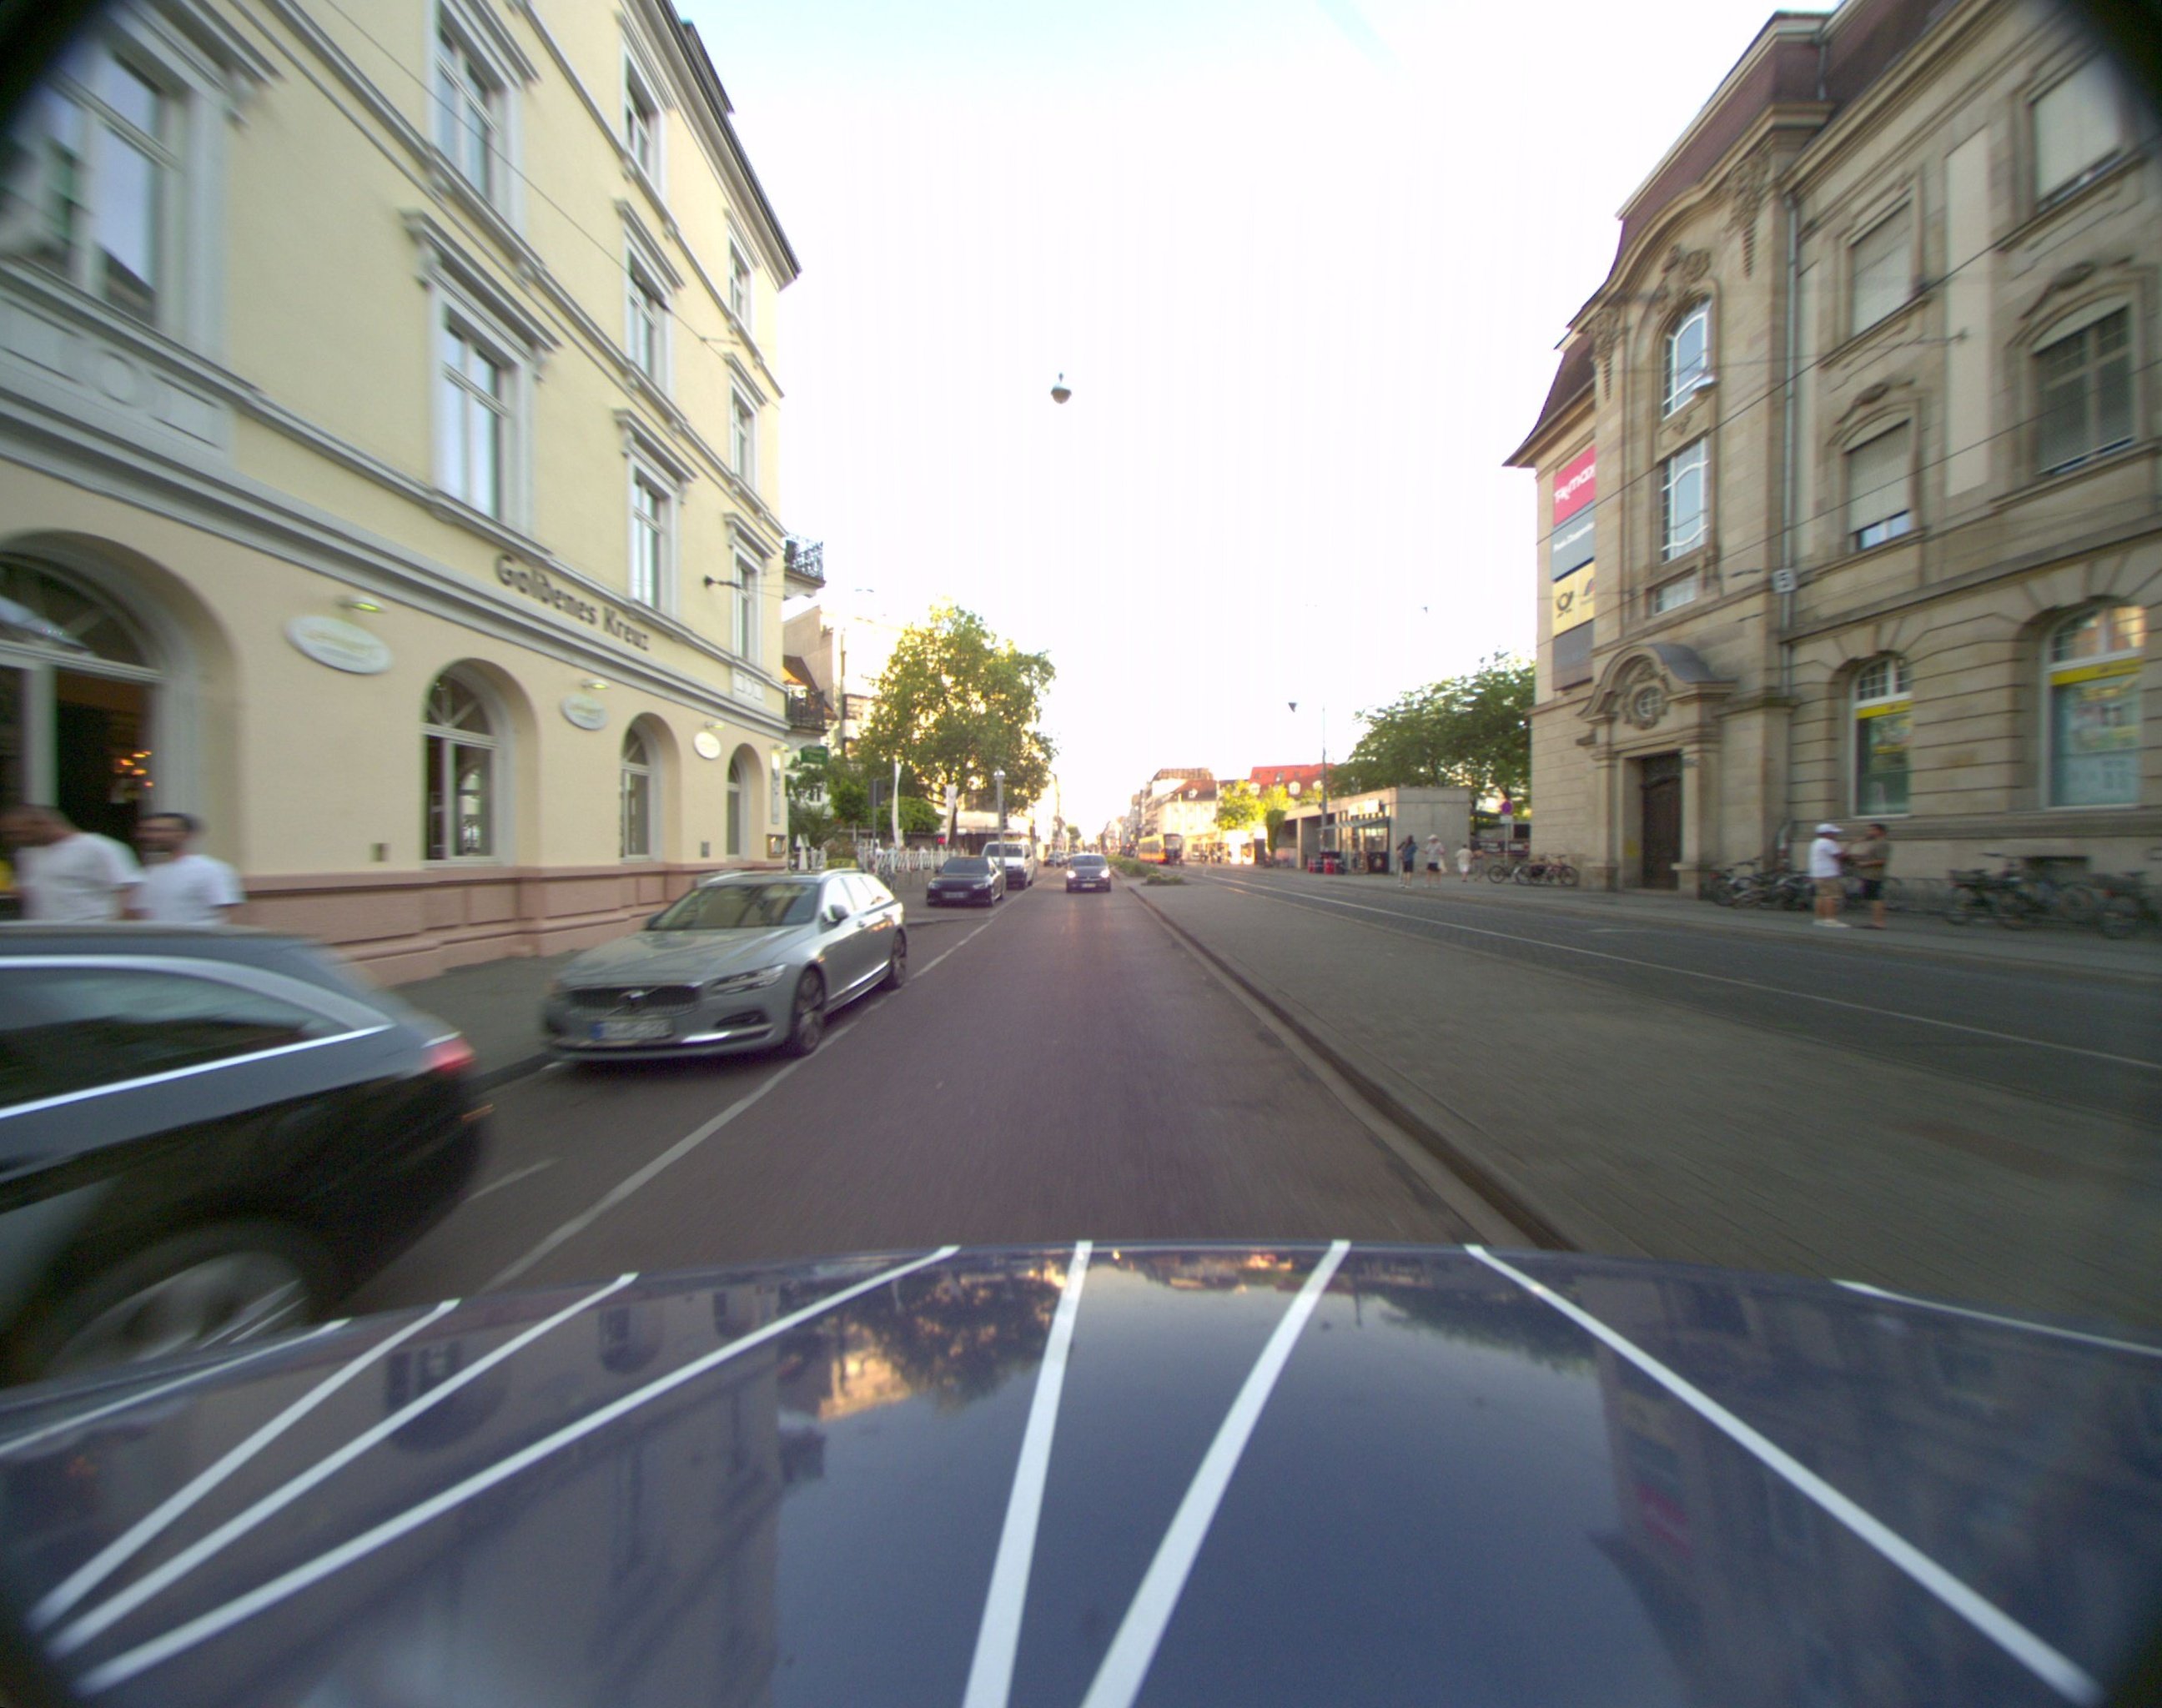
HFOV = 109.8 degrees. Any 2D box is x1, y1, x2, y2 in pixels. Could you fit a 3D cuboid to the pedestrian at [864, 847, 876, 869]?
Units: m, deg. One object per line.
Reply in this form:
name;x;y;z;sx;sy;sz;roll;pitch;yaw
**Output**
pedestrian;-12.463;0.220;44.873;0.532;1.289;0.491;-1;1;1

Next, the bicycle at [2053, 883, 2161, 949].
bicycle;14.930;0.869;10.777;1.579;0.869;0.451;-2;1;5

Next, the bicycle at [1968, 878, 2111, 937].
bicycle;15.266;0.842;12.128;1.579;0.869;0.451;-2;1;5

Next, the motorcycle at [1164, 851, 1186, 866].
motorcycle;8.380;0.369;67.673;1.782;1.230;0.804;-2;2;-31

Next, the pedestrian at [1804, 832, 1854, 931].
pedestrian;12.563;0.448;12.772;0.376;1.622;0.493;-1;2;8

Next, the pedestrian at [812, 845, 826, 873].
pedestrian;-12.662;0.248;36.702;0.490;1.325;0.532;-1;1;1

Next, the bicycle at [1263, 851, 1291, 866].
bicycle;16.120;0.360;62.670;2.131;1.153;0.692;-1;1;2

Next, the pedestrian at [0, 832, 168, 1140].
pedestrian;-6.164;0.733;4.504;0.761;1.680;0.551;4;1;0

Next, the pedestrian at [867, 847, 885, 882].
pedestrian;-7.739;0.393;28.666;0.532;1.289;0.491;-1;1;1

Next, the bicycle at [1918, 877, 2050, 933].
bicycle;15.293;0.860;12.894;1.579;0.869;0.451;-2;1;5

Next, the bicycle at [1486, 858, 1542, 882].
bicycle;16.865;0.624;29.623;1.839;0.863;0.635;-2;1;-1

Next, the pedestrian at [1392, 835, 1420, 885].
pedestrian;11.278;0.214;26.368;0.650;1.726;0.594;1;1;-9

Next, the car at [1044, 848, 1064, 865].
car;-2.742;0.224;77.092;1.771;1.565;3.999;1;1;1

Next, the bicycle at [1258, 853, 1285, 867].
bicycle;16.082;0.494;64.293;2.131;1.153;0.692;-1;1;2

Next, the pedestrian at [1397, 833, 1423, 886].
pedestrian;10.993;0.184;25.421;0.483;1.726;0.680;1;1;-8

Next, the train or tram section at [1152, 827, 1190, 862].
train or tram section;10.207;-1.008;87.737;2.902;3.664;13.480;-1;0;0

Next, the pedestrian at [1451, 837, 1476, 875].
pedestrian;15.708;0.084;31.211;0.661;1.553;0.679;-1;1;-3

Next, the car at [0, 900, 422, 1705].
car;-3.195;1.021;0.301;1.737;1.581;4.442;-3;1;3

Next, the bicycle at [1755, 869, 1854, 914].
bicycle;15.261;0.789;16.055;1.579;0.869;0.451;-2;1;5

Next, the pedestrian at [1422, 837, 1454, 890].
pedestrian;12.036;0.317;25.643;0.677;1.726;0.679;0;1;-27

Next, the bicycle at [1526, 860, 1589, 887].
bicycle;16.820;0.692;26.846;1.839;0.863;0.635;-2;1;-1

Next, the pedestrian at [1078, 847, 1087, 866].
pedestrian;0.145;0.205;64.813;0.638;1.616;0.519;-1;2;-10

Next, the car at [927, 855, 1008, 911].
car;-3.263;0.783;22.699;1.701;1.382;4.546;1;1;0

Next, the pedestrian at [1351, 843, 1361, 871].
pedestrian;16.362;0.183;45.243;0.394;1.643;0.401;-2;2;-5

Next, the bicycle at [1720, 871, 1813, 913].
bicycle;15.299;0.836;16.976;1.579;0.869;0.451;-2;1;5

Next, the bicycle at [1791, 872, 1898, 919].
bicycle;15.167;0.826;15.111;1.579;0.869;0.451;-2;1;5

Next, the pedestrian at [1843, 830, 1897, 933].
pedestrian;13.030;0.438;12.559;0.376;1.664;0.493;-2;2;-12

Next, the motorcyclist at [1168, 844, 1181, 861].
motorcyclist;8.309;-0.125;67.635;0.801;1.431;0.798;-3;2;-31

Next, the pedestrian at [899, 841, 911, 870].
pedestrian;-9.490;0.068;41.018;0.490;1.549;0.532;-1;1;1

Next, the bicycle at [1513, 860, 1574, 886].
bicycle;16.757;0.682;27.570;1.839;0.863;0.635;-2;1;-1

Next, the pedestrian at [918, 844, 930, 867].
pedestrian;-8.828;0.082;42.694;0.532;1.325;0.491;-1;1;1

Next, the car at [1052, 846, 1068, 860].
car;-2.506;-0.102;91.704;1.771;1.565;3.999;1;1;1

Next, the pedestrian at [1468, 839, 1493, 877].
pedestrian;16.417;0.167;31.227;0.661;1.553;0.679;-1;1;-3

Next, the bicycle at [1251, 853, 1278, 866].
bicycle;15.958;0.468;66.030;2.131;1.153;0.692;-1;1;2

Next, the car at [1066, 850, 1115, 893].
car;0.377;0.639;29.841;1.738;1.495;3.999;-2;1;1

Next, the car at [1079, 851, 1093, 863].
car;0.642;0.348;99.788;1.810;1.475;4.283;-3;0;0

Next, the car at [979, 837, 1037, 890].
car;-2.991;0.346;32.143;1.857;2.055;5.215;0;1;1

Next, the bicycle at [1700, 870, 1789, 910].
bicycle;15.272;0.828;17.515;1.579;0.869;0.451;-2;1;5

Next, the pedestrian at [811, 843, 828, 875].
pedestrian;-10.818;0.208;31.424;0.532;1.325;0.491;-1;1;1

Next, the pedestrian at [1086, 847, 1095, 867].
pedestrian;0.789;0.258;63.951;0.638;1.616;0.519;-1;2;-10

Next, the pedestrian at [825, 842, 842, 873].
pedestrian;-10.688;0.168;32.852;0.532;1.325;0.491;-1;1;1

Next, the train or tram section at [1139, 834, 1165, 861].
train or tram section;10.357;-0.949;111.974;2.902;3.664;10.784;-1;0;0

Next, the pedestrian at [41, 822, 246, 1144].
pedestrian;-5.355;0.688;4.355;0.619;1.680;0.486;4;1;16

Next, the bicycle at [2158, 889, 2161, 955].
bicycle;15.047;0.882;9.782;1.579;0.869;0.451;-2;1;5

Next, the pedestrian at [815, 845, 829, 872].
pedestrian;-12.847;0.229;37.709;0.490;1.325;0.532;-1;1;1

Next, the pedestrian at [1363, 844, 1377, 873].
pedestrian;16.475;0.256;43.334;0.563;1.643;0.552;-2;2;-5

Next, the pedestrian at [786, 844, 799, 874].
pedestrian;-12.174;0.205;32.050;0.491;1.259;0.531;-1;1;-23

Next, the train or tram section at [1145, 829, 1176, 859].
train or tram section;10.370;-1.212;100.438;2.902;3.664;11.982;-1;0;0

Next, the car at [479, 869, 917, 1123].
car;-3.046;0.994;7.391;1.810;1.467;4.692;-2;1;0

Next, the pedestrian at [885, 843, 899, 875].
pedestrian;-7.674;0.209;30.809;0.532;1.289;0.490;-1;1;-15

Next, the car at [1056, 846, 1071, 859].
car;-2.226;-0.235;97.296;1.771;1.565;3.999;1;1;1

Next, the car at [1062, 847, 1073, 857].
car;-2.296;-0.403;134.192;1.771;1.565;3.999;1;1;1

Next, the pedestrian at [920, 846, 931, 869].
pedestrian;-8.976;0.213;43.930;0.532;1.289;0.491;-1;1;1
